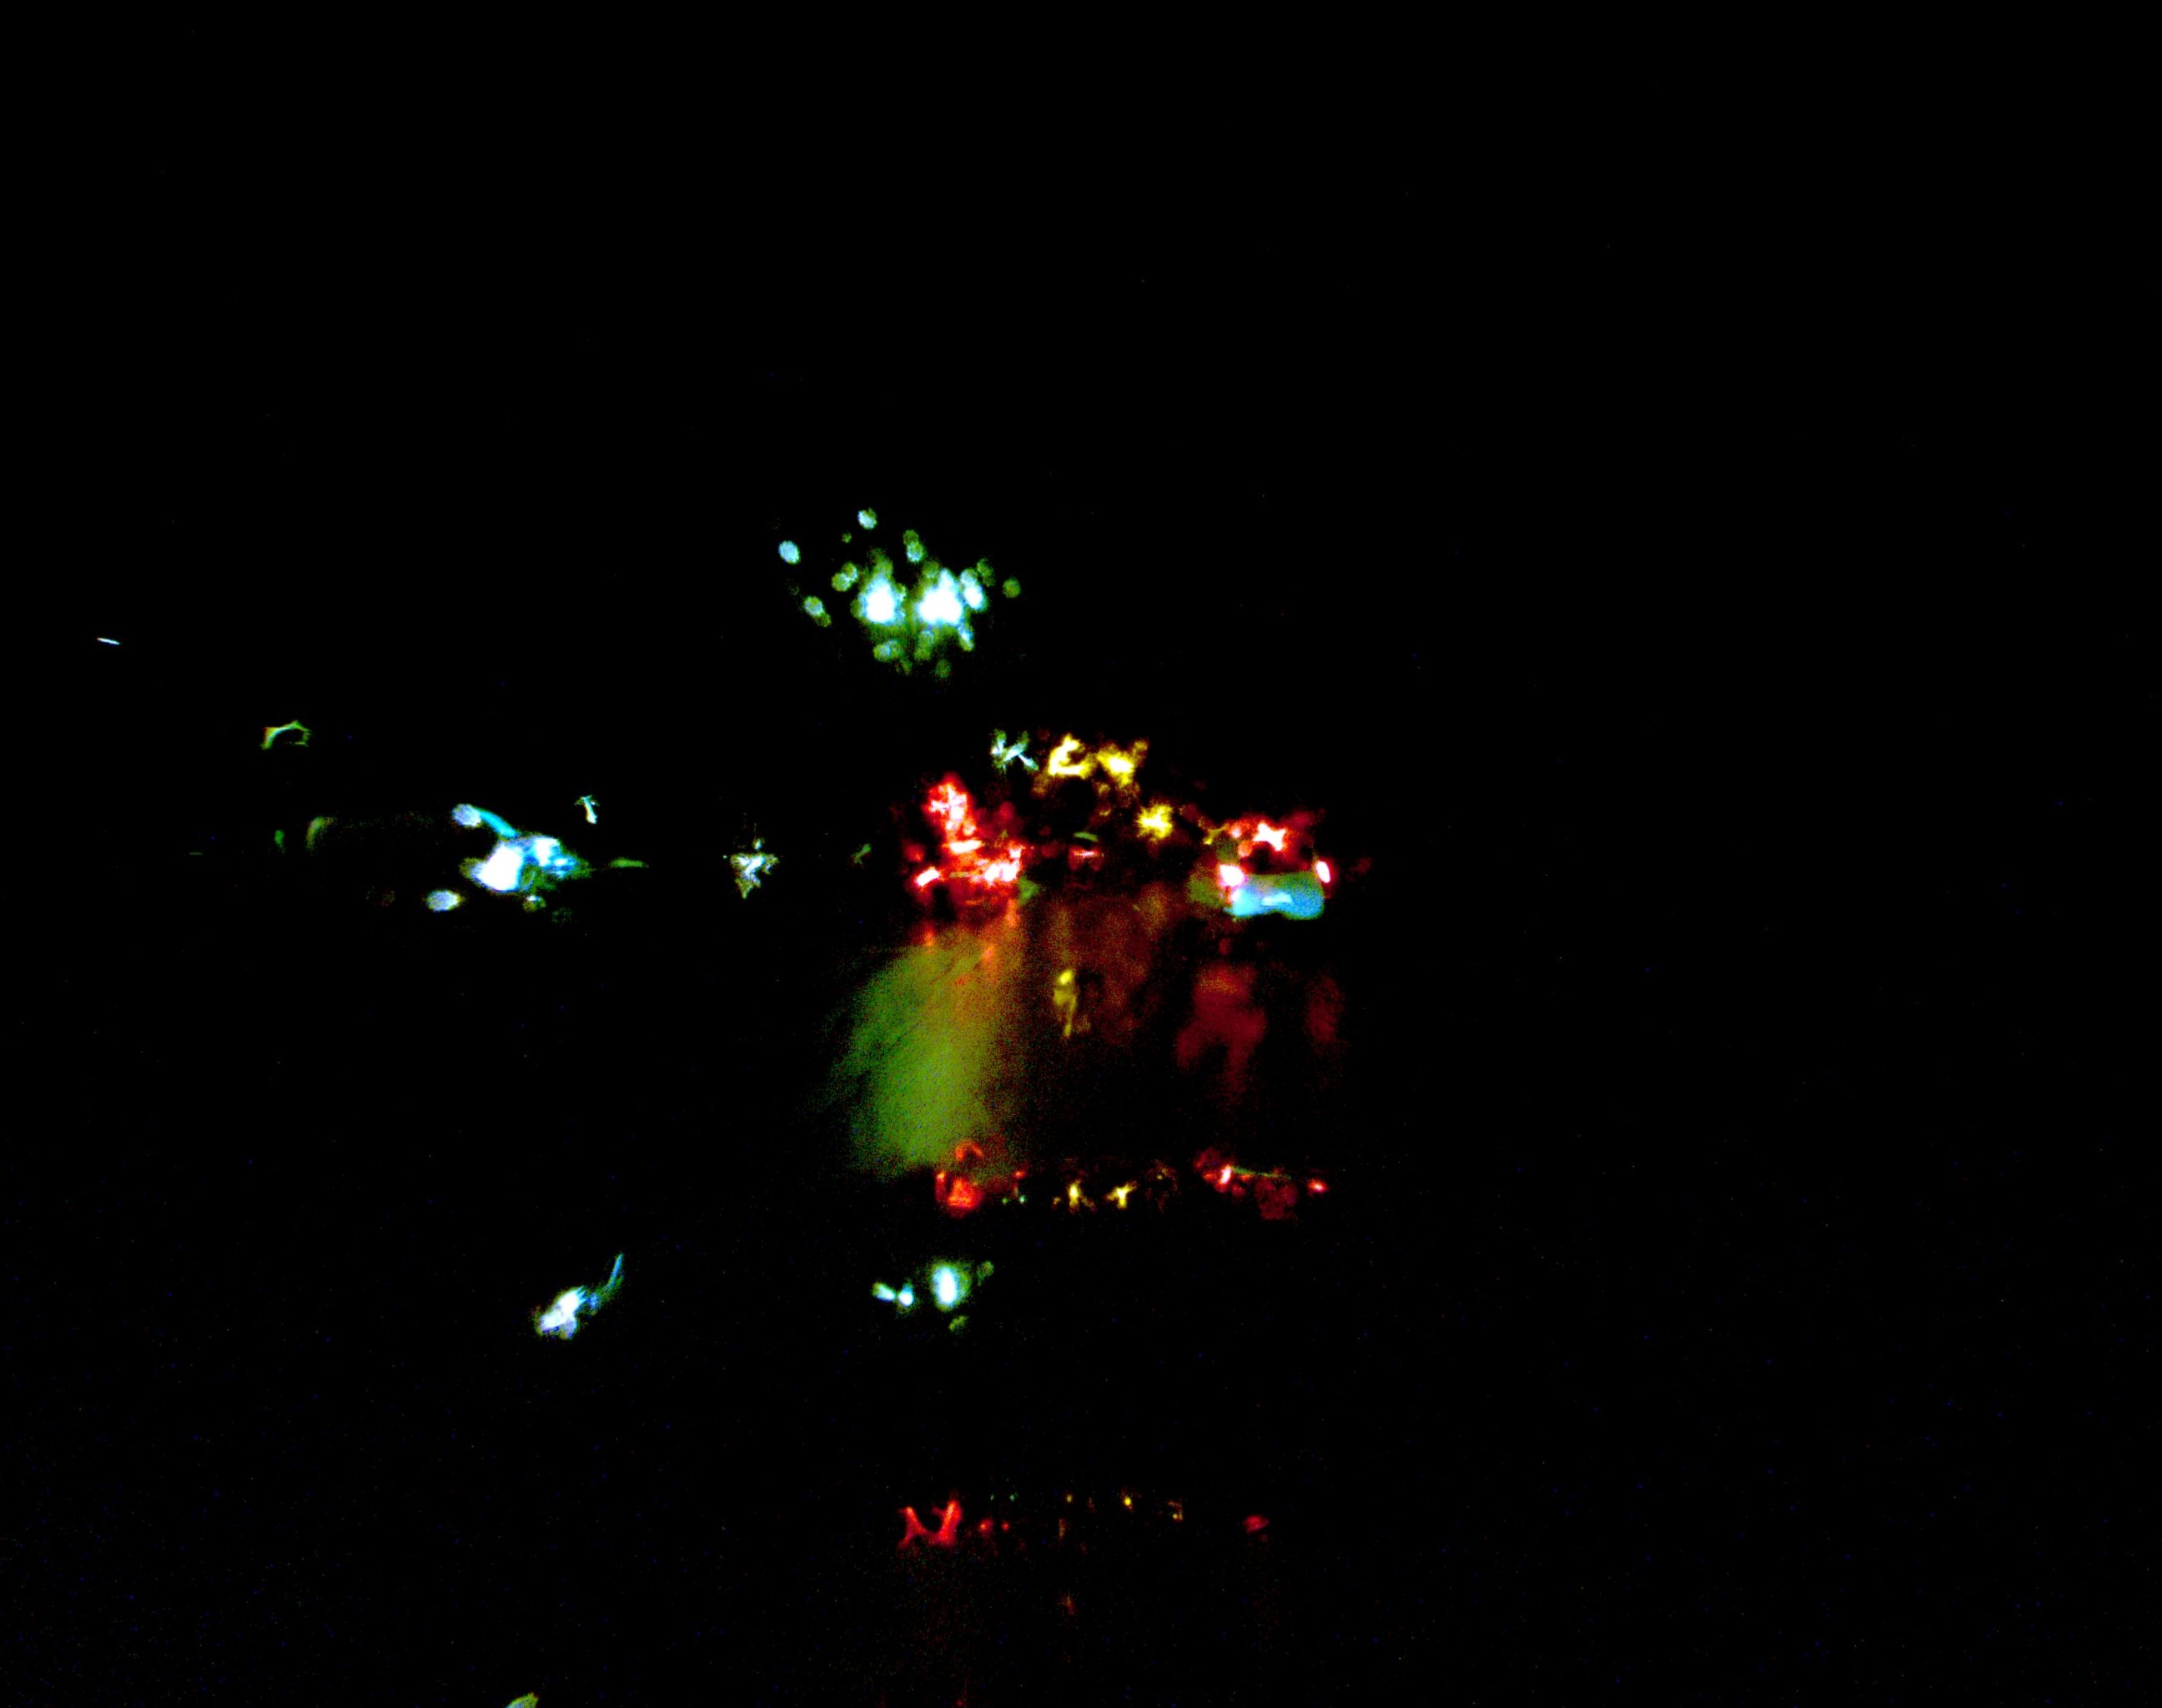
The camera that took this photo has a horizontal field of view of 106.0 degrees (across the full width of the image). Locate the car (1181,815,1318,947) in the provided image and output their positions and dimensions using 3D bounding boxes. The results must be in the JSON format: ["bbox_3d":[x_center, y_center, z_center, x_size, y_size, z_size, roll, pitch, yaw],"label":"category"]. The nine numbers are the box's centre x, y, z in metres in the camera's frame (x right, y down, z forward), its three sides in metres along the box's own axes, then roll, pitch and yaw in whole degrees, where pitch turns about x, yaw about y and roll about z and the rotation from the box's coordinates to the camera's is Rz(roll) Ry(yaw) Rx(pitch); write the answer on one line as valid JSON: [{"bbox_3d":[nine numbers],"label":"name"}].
[{"bbox_3d":[2.915,0.354,15.026,1.784,2.021,4.584,-2,2,3],"label":"car"}]

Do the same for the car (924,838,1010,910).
[{"bbox_3d":[-3.059,0.489,22.628,1.778,1.782,4.434,-1,0,-1],"label":"car"}]

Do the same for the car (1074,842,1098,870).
[{"bbox_3d":[0.352,0.113,61.902,1.786,2.022,4.578,-1,0,0],"label":"car"}]

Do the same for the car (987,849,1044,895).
[{"bbox_3d":[-2.359,0.607,30.385,1.779,1.511,4.434,-2,0,-1],"label":"car"}]

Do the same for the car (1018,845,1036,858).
[{"bbox_3d":[-7.682,-0.386,116.706,1.986,1.717,4.002,3,-1,2],"label":"car"}]

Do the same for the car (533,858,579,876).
[{"bbox_3d":[-45.891,1.102,71.307,1.719,1.519,3.992,0,0,-6],"label":"car"}]

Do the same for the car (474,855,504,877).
[{"bbox_3d":[-42.811,0.830,58.981,1.522,1.518,4.329,1,-1,-33],"label":"car"}]
